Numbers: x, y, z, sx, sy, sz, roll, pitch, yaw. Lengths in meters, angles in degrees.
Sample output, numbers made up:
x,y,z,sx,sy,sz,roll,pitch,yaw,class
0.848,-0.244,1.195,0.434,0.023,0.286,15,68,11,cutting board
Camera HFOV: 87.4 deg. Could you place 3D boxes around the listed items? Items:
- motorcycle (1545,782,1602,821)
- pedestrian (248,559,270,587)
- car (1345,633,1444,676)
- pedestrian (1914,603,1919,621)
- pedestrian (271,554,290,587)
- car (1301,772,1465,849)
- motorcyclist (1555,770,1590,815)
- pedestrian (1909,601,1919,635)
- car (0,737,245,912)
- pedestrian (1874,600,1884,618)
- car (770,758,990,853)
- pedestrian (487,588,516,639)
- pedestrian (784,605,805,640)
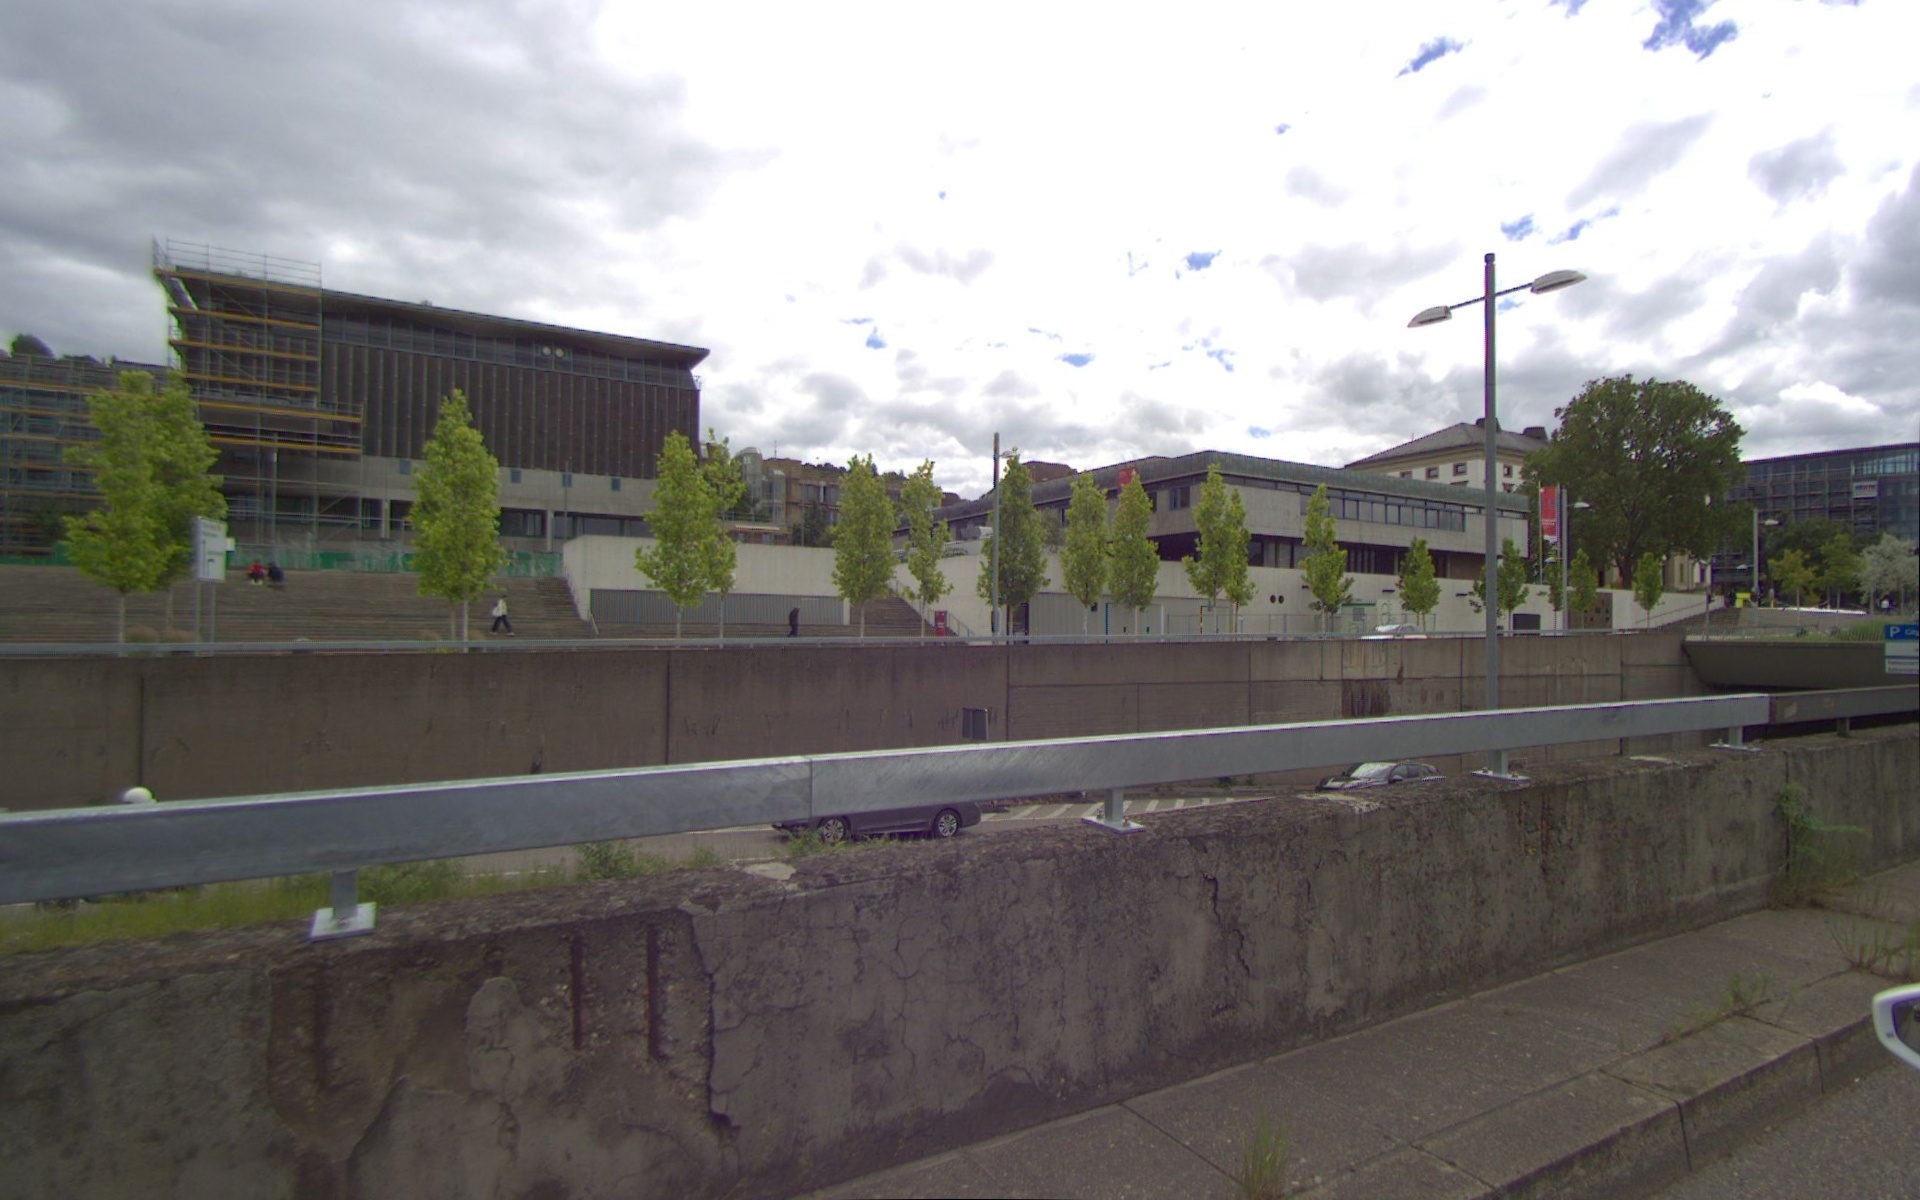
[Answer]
x,y,z,sx,sy,sz,roll,pitch,yaw,class
19.847,6.504,32.491,2.027,1.112,0.682,4,-6,-30,motorcycle
-29.992,-1.156,42.986,0.761,0.957,0.718,0,24,-36,pedestrian
19.025,2.408,43.983,3.953,1.786,1.985,1,-4,-30,car
107.562,1.327,112.691,0.730,2.040,1.109,-2,-1,40,pedestrian
-29.350,-1.281,43.380,0.619,1.258,0.665,1,21,-36,pedestrian
10.717,5.251,25.393,4.100,1.508,1.766,4,-4,-31,car
19.821,6.210,32.494,0.710,1.368,0.666,4,-6,-30,motorcyclist
60.065,1.121,62.969,0.623,2.040,0.724,-6,2,-37,pedestrian
-11.225,2.618,11.726,4.465,1.696,1.985,1,-4,-30,car
103.340,1.017,112.988,0.730,2.040,0.789,-2,-1,40,pedestrian
-1.679,4.334,21.670,4.342,1.633,1.861,5,-5,-31,car
-18.992,0.561,41.600,0.777,2.040,0.741,-1,0,5,pedestrian
-7.873,1.061,47.700,0.777,1.664,0.741,-1,0,5,pedestrian
